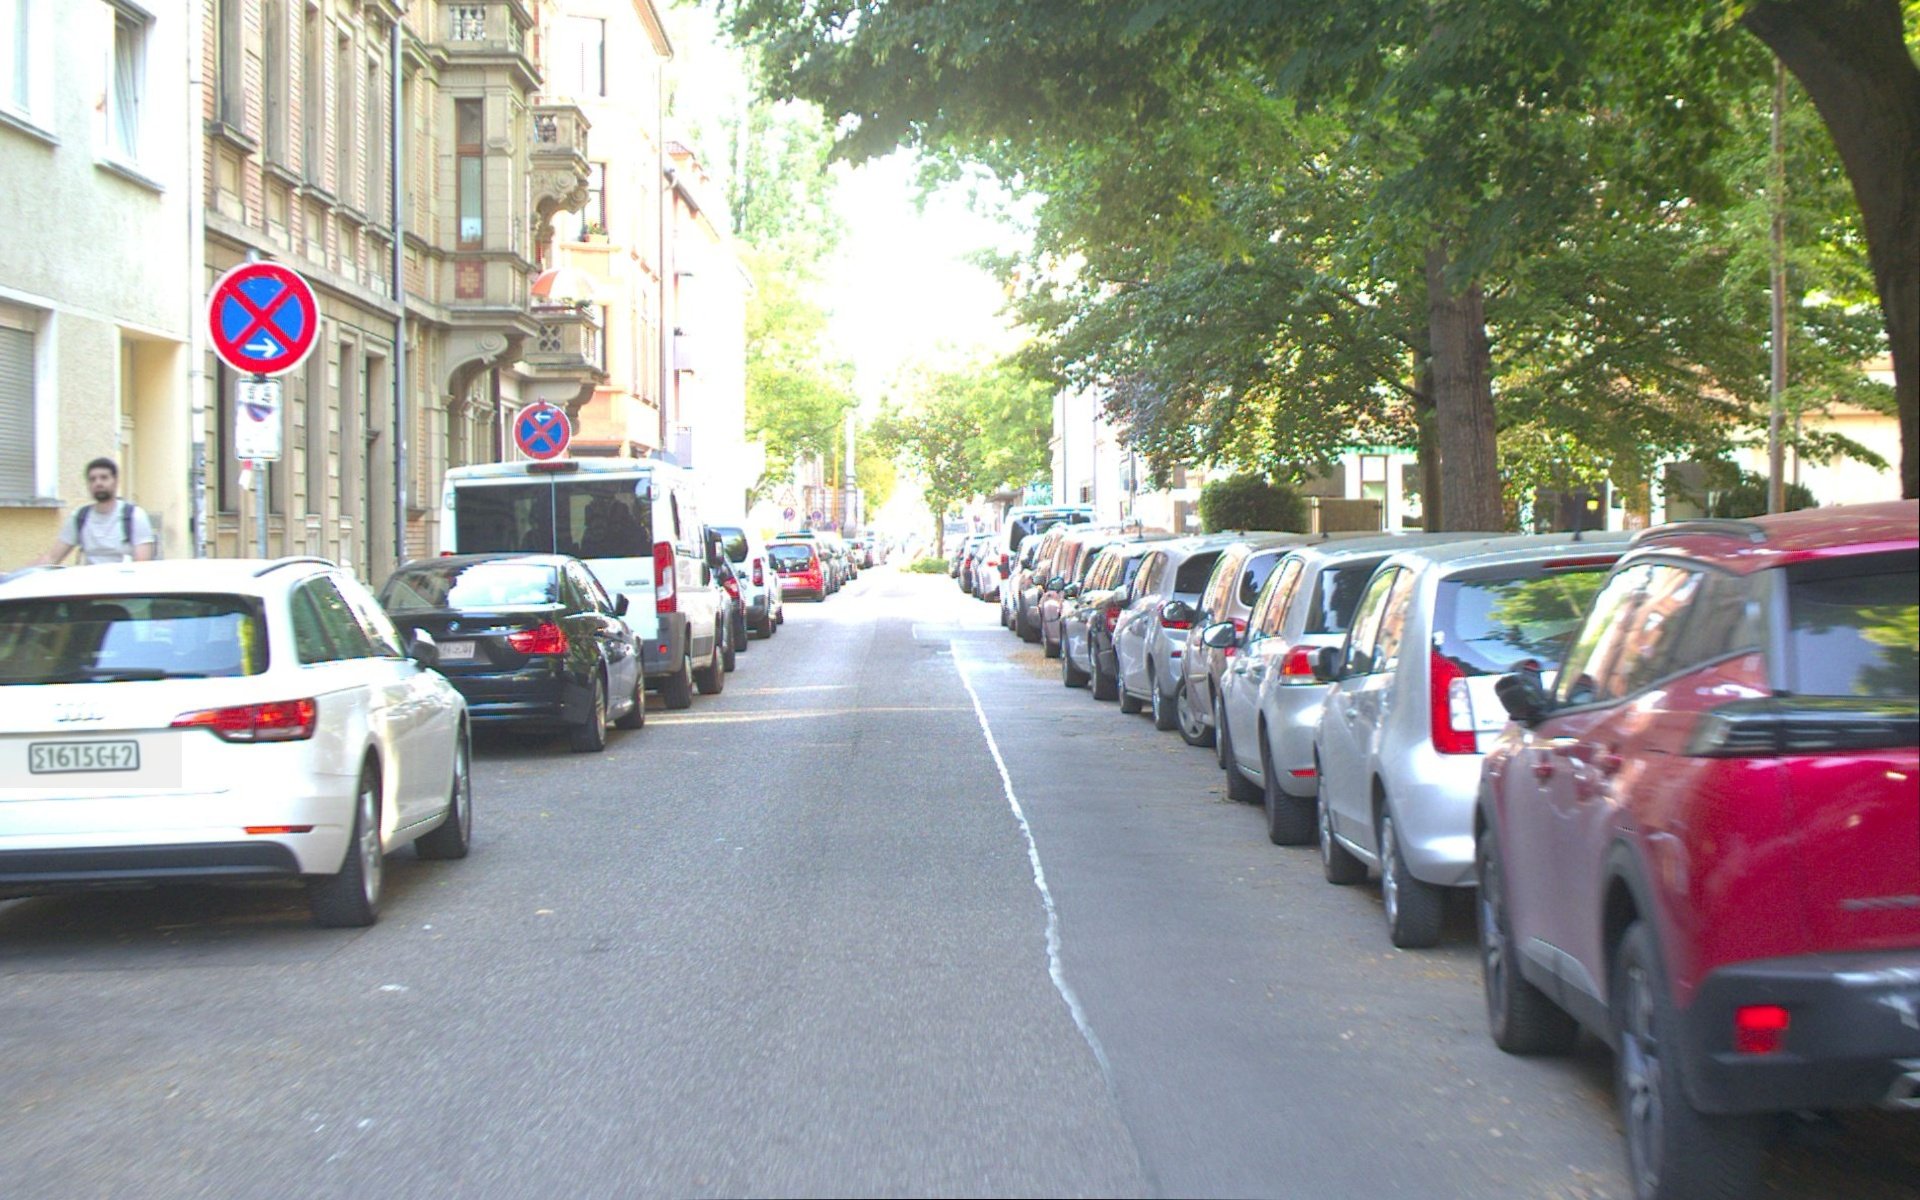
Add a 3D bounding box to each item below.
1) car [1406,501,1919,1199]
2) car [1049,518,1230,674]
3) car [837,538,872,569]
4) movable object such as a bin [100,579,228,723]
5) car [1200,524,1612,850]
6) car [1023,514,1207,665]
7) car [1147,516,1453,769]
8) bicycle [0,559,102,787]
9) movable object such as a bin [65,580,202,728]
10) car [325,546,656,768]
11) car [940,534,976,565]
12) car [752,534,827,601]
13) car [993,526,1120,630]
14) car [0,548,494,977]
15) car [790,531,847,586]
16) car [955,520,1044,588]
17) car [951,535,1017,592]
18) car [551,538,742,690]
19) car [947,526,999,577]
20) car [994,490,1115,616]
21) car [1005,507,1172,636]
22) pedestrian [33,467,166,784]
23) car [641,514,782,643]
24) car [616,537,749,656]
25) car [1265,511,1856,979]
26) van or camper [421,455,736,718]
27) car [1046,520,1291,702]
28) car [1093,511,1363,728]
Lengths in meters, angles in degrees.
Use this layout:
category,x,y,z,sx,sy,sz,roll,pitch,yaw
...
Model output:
category,x,y,z,sx,sy,sz,roll,pitch,yaw
car,2.256,0.569,8.722,1.664,1.580,4.100,-5,1,1
car,1.913,-0.055,37.614,1.619,1.481,3.776,-5,1,-1
car,-5.375,-2.390,175.603,1.676,1.482,4.095,-2,1,-1
movable object such as a bin,-6.112,0.387,26.417,0.800,1.084,0.666,0,0,3
car,2.241,0.393,18.174,1.599,1.465,3.869,-3,1,0
car,1.839,-0.126,41.898,1.618,1.619,3.864,-5,1,-5
car,2.244,0.253,23.486,1.599,1.463,3.564,-5,1,0
bicycle,-5.564,0.400,20.232,0.570,1.239,1.845,2,1,-2
movable object such as a bin,-6.145,0.399,25.592,0.836,1.084,0.675,0,0,3
car,-3.346,0.352,25.261,1.731,1.397,4.315,-2,1,1
car,-0.121,-2.518,171.628,1.676,1.482,3.638,-2,1,-1
car,-4.035,-0.790,81.697,1.628,1.476,3.601,-2,1,-1
car,1.471,-0.366,53.808,1.719,1.565,3.829,0,1,-2
car,-3.133,0.554,14.474,1.731,1.451,4.522,-2,1,-1
car,-4.751,-1.415,115.969,1.765,1.779,4.039,-2,1,-1
car,0.906,-1.094,81.156,1.743,1.501,4.358,-2,1,-3
car,0.664,-1.038,96.465,1.676,1.501,3.938,-2,1,-1
car,-3.402,0.107,37.933,1.766,1.509,4.194,-2,1,-1
car,0.457,-1.651,118.316,1.676,1.676,4.094,-2,0,0
car,1.613,-0.821,58.934,1.914,1.991,4.792,-2,1,1
car,1.776,-0.394,48.730,1.739,1.597,4.265,-5,1,-5
pedestrian,-5.054,0.135,20.235,0.488,1.797,1.115,2,1,-2
car,-3.753,-0.364,52.561,1.831,1.805,4.572,-2,1,-1
car,-3.810,-0.082,47.663,1.692,1.509,3.974,-2,1,-4
car,2.262,0.488,13.870,1.599,1.500,3.720,-5,1,0
van or camper,-3.388,-0.169,31.622,2.177,2.140,5.154,-2,1,1
car,1.869,0.078,32.197,1.675,1.436,4.696,-5,1,-3
car,2.094,0.136,27.730,1.599,1.500,3.628,-5,1,-3
